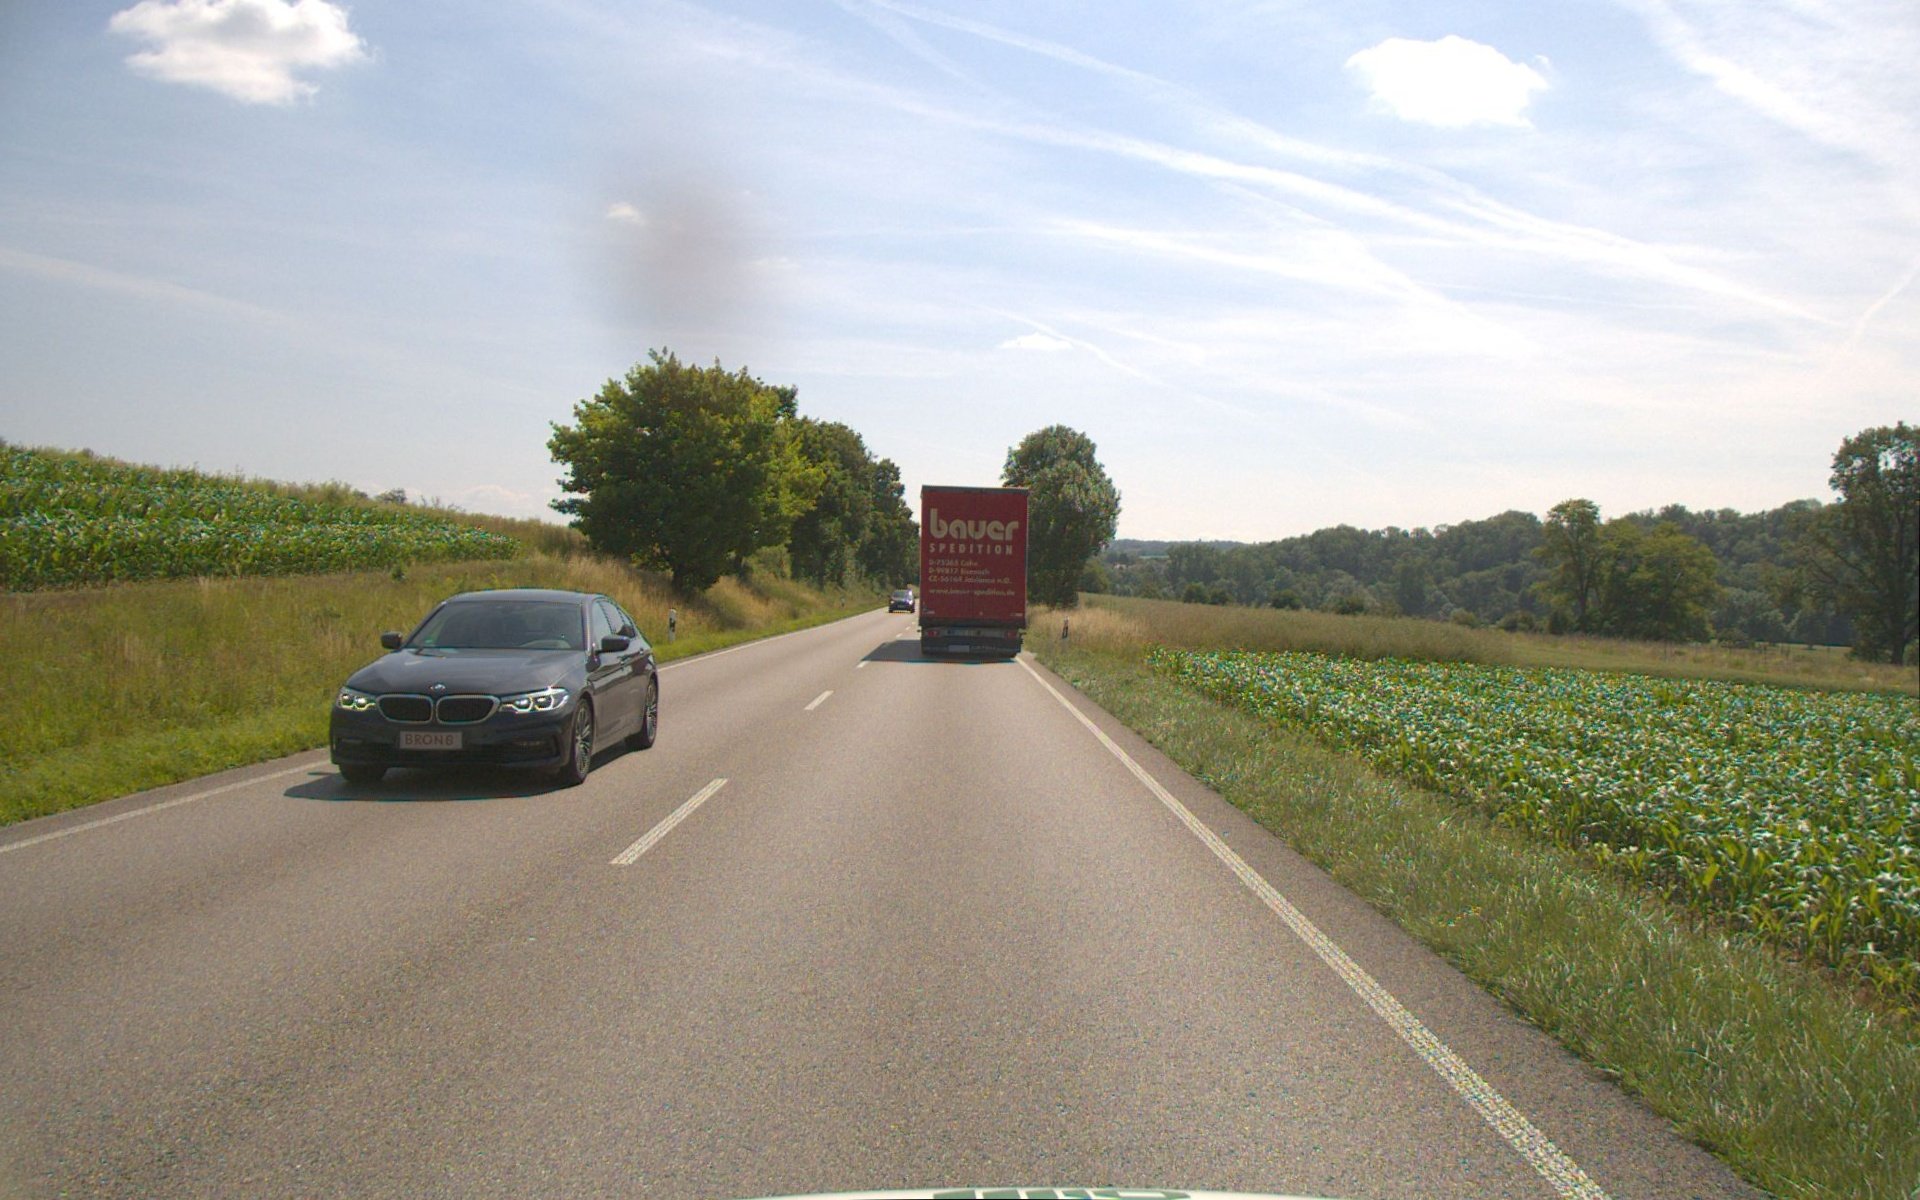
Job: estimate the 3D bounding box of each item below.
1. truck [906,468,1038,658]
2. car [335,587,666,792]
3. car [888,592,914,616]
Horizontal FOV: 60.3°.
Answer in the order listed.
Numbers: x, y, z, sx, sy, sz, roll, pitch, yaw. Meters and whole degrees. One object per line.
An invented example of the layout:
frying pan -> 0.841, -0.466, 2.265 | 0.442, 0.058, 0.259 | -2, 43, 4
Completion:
truck -> 0.386, -0.813, 42.132 | 3.030, 4.337, 8.315 | 0, -1, 1
car -> -3.722, 0.632, 14.187 | 1.639, 1.482, 4.350 | 0, 0, 0
car -> -4.074, 0.271, 114.638 | 1.622, 1.561, 4.358 | 1, 0, 0
